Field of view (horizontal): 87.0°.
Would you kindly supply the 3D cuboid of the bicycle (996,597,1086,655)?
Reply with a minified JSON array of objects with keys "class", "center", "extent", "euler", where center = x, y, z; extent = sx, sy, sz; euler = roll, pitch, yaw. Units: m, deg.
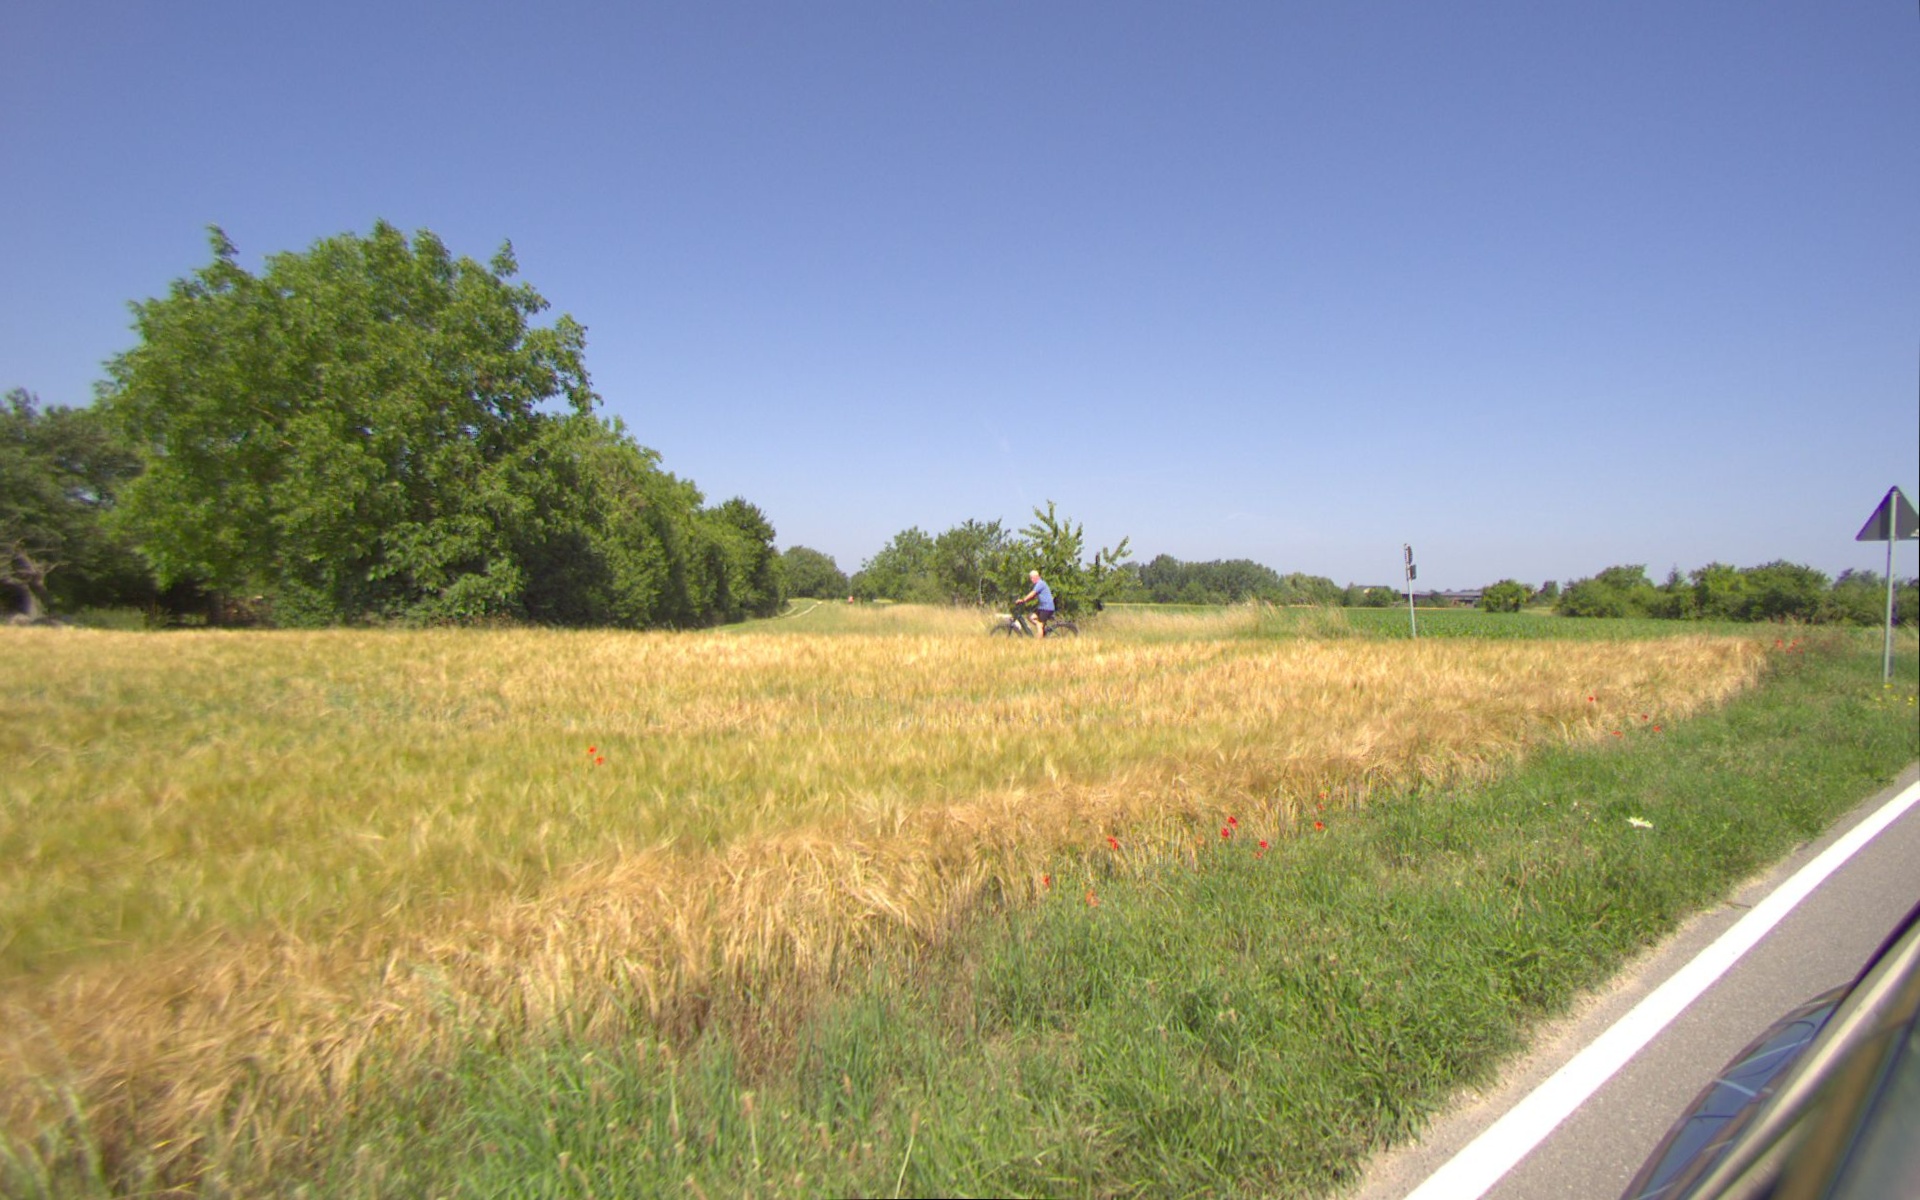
[{"class":"bicycle","center":[1.608,0.521,20.250],"extent":[1.736,1.130,0.522],"euler":[0,0,1]}]

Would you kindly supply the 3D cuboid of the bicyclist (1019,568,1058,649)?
[{"class":"bicyclist","center":[1.566,0.164,20.252],"extent":[0.721,1.593,0.674],"euler":[0,0,0]}]
